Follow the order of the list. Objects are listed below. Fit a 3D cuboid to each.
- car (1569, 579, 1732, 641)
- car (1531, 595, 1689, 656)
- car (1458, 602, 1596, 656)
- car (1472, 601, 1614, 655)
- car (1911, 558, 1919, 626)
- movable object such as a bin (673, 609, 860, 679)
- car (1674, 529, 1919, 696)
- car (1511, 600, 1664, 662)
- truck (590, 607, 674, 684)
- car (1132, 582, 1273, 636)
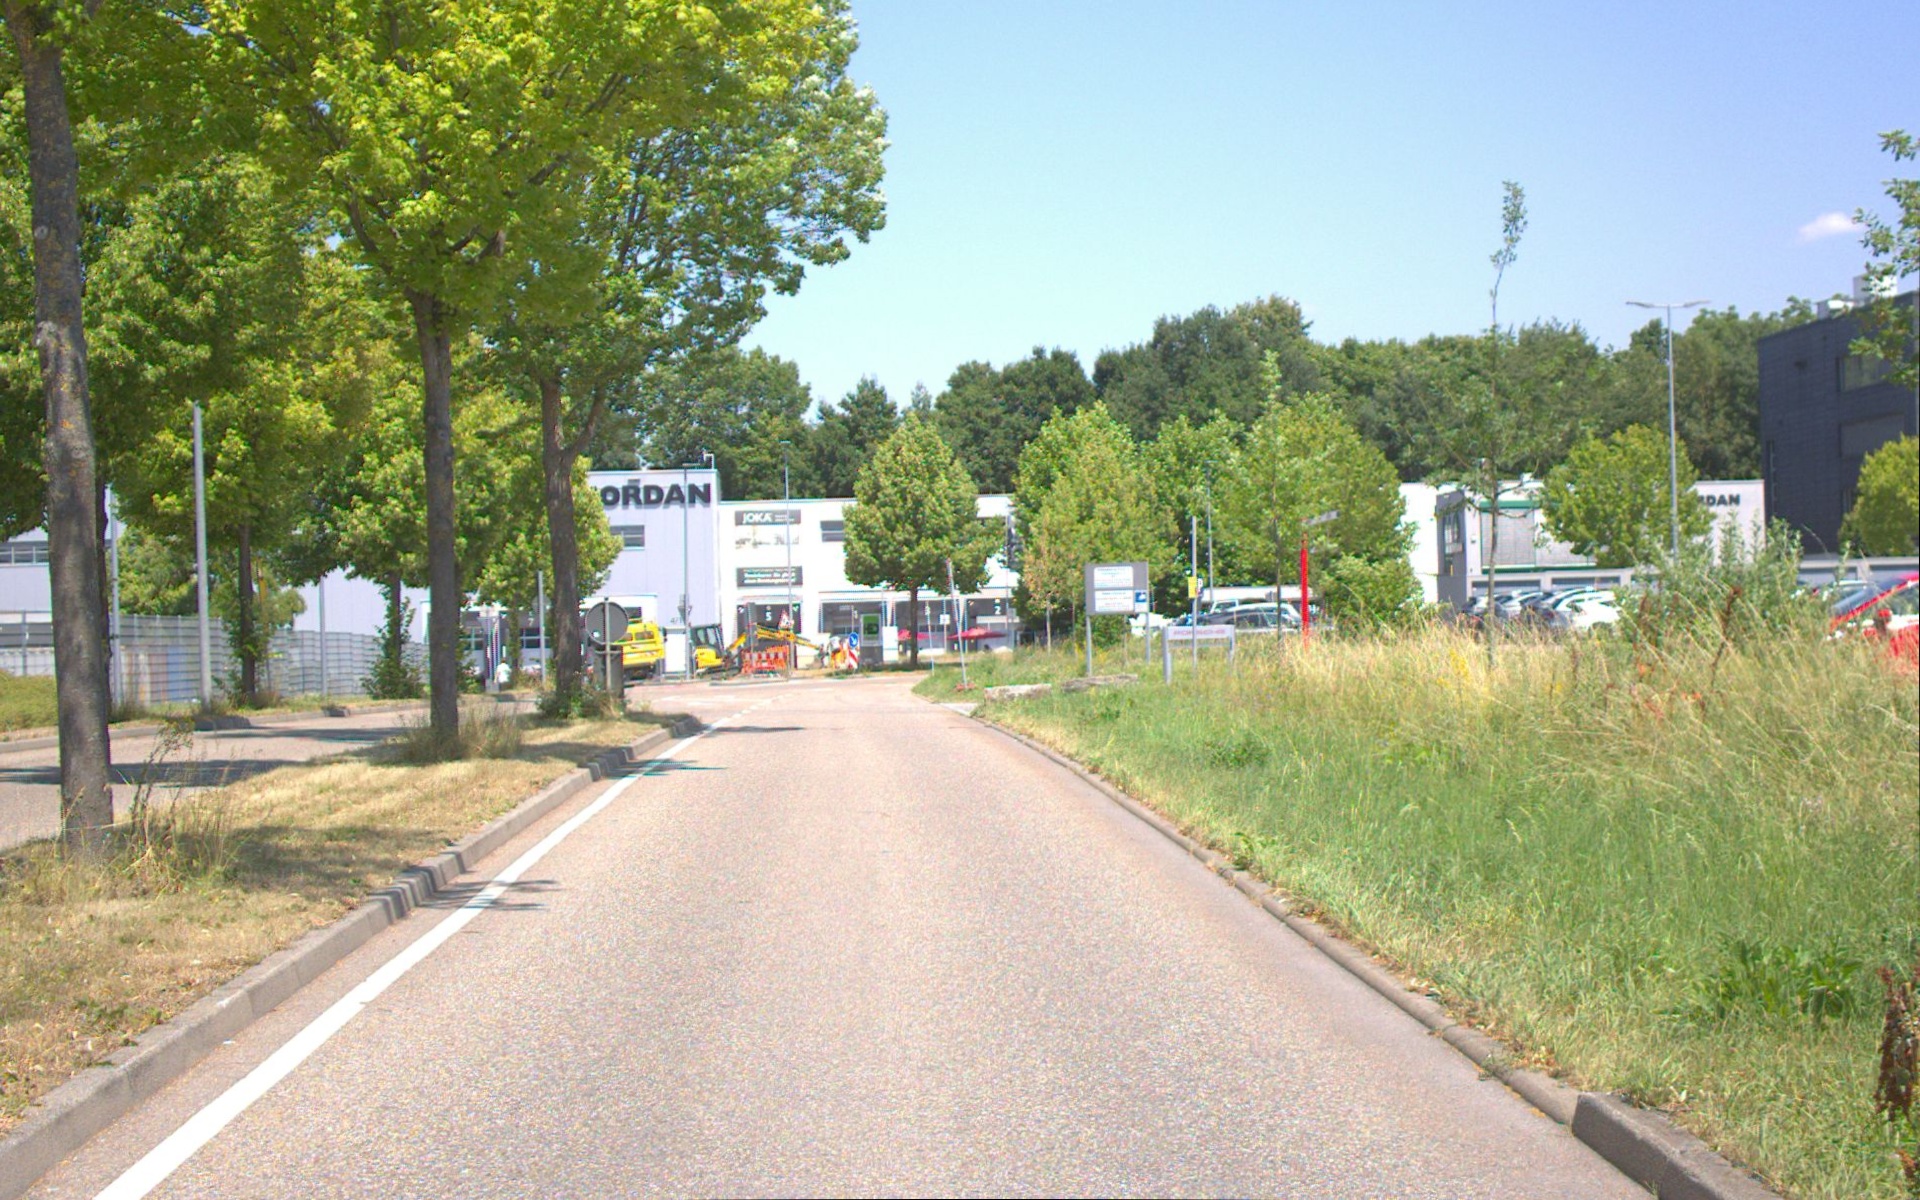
[{"bbox_3d":[18.888,0.258,94.076,3.986,1.395,1.769,-3,3,-4],"label":"car"},{"bbox_3d":[18.327,0.702,97.027,3.986,1.395,1.769,-3,3,-5],"label":"car"},{"bbox_3d":[18.108,0.928,109.938,3.986,1.395,1.769,-3,3,-5],"label":"car"},{"bbox_3d":[18.181,0.865,107.241,3.986,1.395,1.769,-3,3,-5],"label":"car"},{"bbox_3d":[24.952,-0.272,81.879,3.986,1.590,1.862,-3,3,-5],"label":"car"},{"bbox_3d":[-8.348,1.894,149.047,7.527,2.491,3.666,-3,3,6],"label":"movable object such as a bin"},{"bbox_3d":[10.231,0.108,38.448,3.986,1.718,1.927,-2,-1,-2],"label":"car"},{"bbox_3d":[18.255,0.899,100.102,3.986,1.485,1.769,-3,3,-5],"label":"car"},{"bbox_3d":[-14.235,1.926,148.876,2.938,2.876,5.811,-3,3,-10],"label":"truck"},{"bbox_3d":[7.672,0.281,108.905,4.162,1.395,1.769,-3,3,-5],"label":"car"}]
